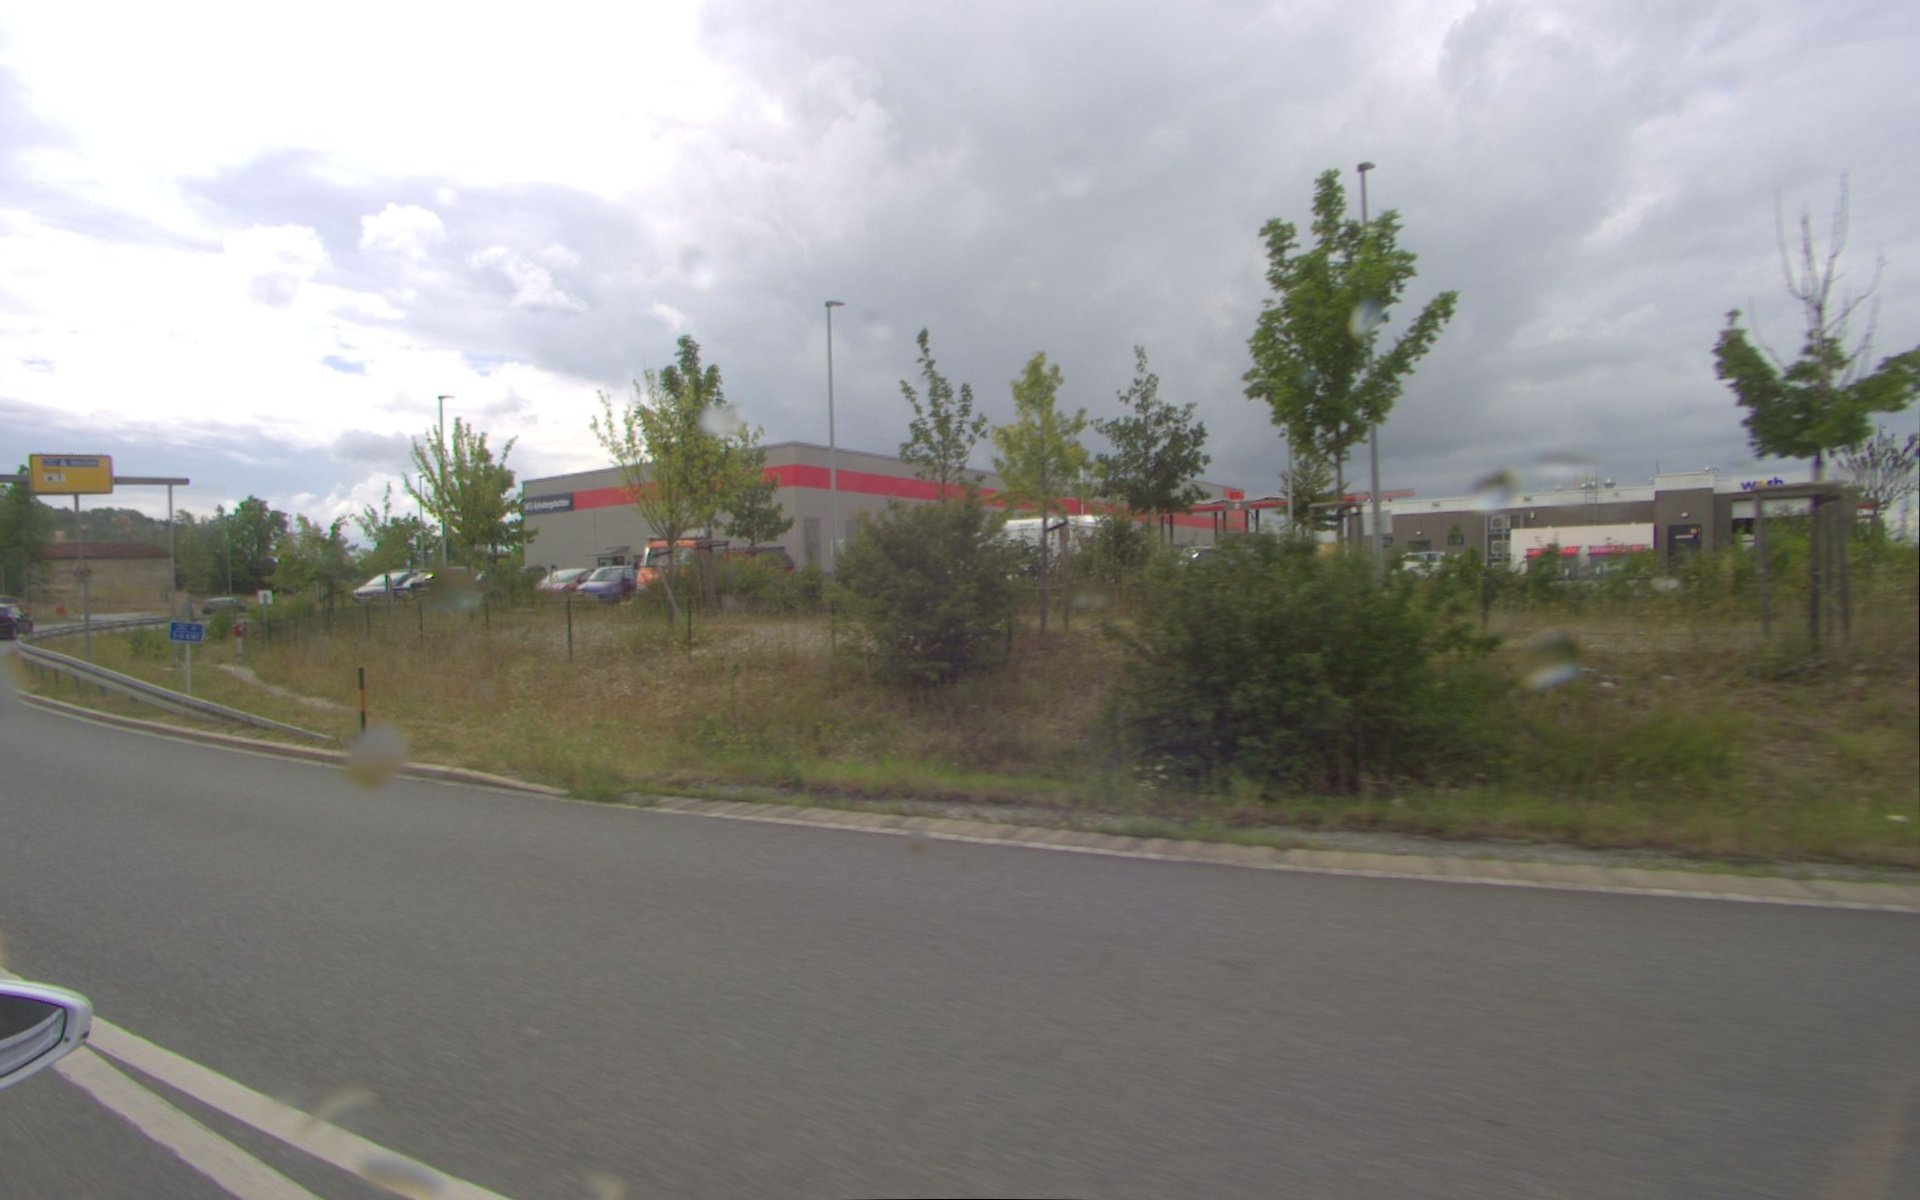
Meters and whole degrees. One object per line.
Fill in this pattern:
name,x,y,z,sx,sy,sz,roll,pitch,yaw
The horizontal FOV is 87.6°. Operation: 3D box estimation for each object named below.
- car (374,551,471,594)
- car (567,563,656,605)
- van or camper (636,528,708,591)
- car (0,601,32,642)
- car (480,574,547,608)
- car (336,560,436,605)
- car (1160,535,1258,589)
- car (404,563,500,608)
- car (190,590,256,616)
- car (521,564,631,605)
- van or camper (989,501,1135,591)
car,-23.808,-1.191,44.494,1.700,1.674,3.857,2,-1,12
car,-12.229,-0.579,35.293,1.472,1.400,3.303,-1,2,11
van or camper,-9.879,-1.338,34.649,1.779,2.024,4.672,0,1,-9
car,-39.680,0.862,41.193,1.853,1.626,3.706,-1,0,-38
car,-25.867,-0.527,58.007,3.917,1.836,1.693,0,4,36
car,-25.976,-0.748,45.485,1.769,1.805,4.170,2,-1,6
car,8.887,-1.327,35.539,1.759,1.744,4.029,0,1,40
car,-21.202,-0.575,41.979,1.490,1.674,3.732,2,-1,14
car,-48.460,0.203,65.936,1.876,1.639,3.998,-1,0,-9
car,-14.304,-0.557,37.625,1.671,1.419,4.585,-1,0,11
van or camper,4.240,-2.019,39.779,2.458,3.222,7.690,1,2,34
